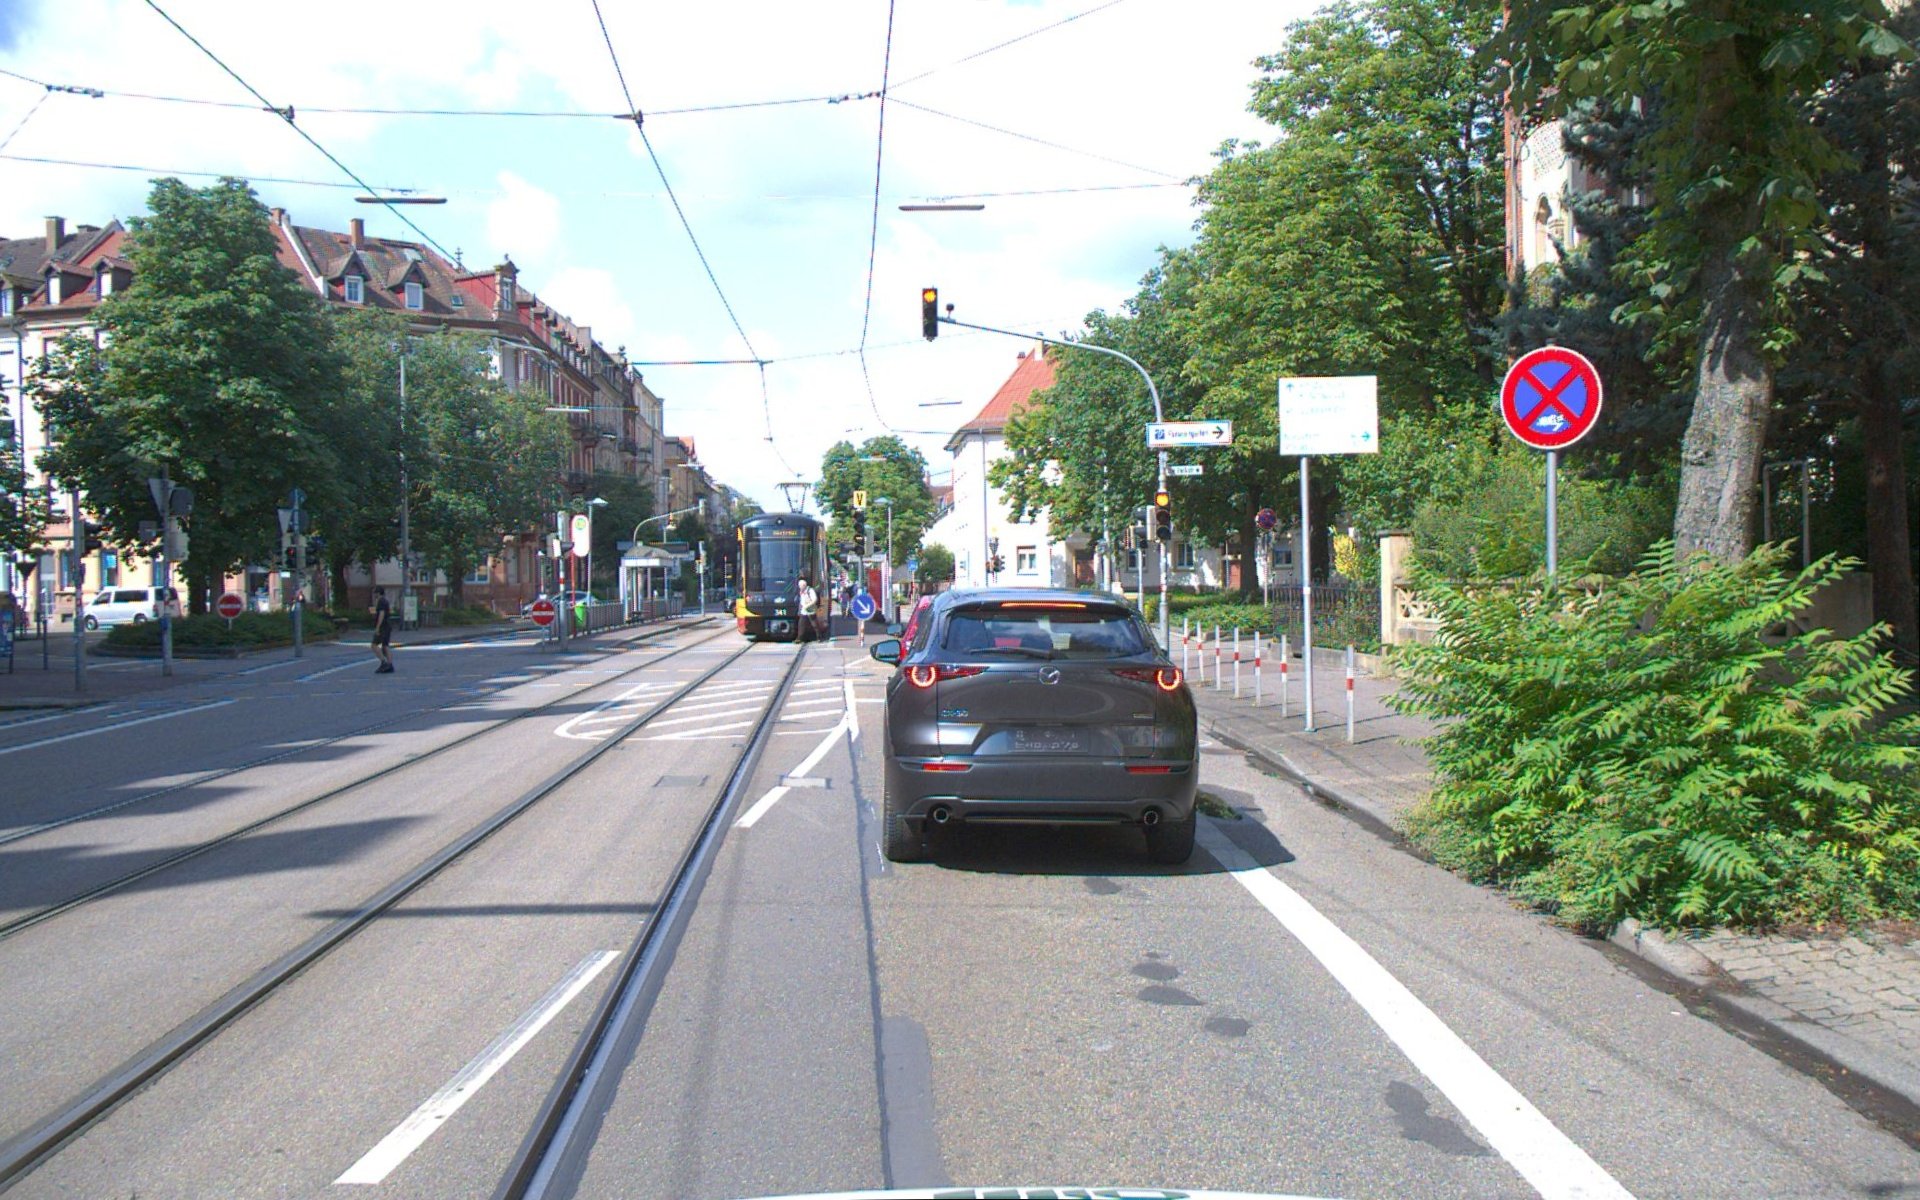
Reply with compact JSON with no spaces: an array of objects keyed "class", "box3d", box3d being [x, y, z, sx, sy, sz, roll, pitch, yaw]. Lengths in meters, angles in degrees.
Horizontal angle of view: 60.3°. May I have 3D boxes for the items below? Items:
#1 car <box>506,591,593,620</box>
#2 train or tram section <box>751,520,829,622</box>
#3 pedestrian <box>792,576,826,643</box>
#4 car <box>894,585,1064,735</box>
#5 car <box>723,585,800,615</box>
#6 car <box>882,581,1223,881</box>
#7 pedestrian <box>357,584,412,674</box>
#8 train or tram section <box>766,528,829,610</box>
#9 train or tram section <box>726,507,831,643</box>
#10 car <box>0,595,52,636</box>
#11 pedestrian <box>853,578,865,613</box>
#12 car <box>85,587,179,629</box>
[{"class":"car","box3d":[-20.621,0.272,83.186,3.947,1.384,1.661,-1,0,-31]},{"class":"train or tram section","box3d":[-6.588,-1.198,65.626,2.699,3.551,14.395,-1,1,-5]},{"class":"pedestrian","box3d":[-3.980,0.250,43.587,0.706,1.735,0.819,-1,0,-19]},{"class":"car","box3d":[0.158,0.602,19.154,1.742,1.526,3.999,1,0,-1]},{"class":"car","box3d":[-10.634,-0.003,88.512,3.921,1.524,1.672,-1,0,-15]},{"class":"car","box3d":[0.442,0.659,10.552,1.742,1.526,3.999,1,0,-1]},{"class":"pedestrian","box3d":[-11.232,0.560,32.290,0.735,1.713,0.701,-1,0,8]},{"class":"train or tram section","box3d":[-7.734,-1.548,79.977,2.699,3.551,14.395,-1,1,-5]},{"class":"train or tram section","box3d":[-5.421,-0.844,51.266,2.699,3.551,14.395,-1,1,-5]},{"class":"car","box3d":[-39.554,0.660,67.451,3.905,1.624,2.000,-1,0,-1]},{"class":"pedestrian","box3d":[-4.296,-0.200,70.261,0.441,1.459,0.474,-1,0,-5]},{"class":"car","box3d":[-39.767,0.377,79.478,3.906,1.937,1.999,-1,0,24]}]
